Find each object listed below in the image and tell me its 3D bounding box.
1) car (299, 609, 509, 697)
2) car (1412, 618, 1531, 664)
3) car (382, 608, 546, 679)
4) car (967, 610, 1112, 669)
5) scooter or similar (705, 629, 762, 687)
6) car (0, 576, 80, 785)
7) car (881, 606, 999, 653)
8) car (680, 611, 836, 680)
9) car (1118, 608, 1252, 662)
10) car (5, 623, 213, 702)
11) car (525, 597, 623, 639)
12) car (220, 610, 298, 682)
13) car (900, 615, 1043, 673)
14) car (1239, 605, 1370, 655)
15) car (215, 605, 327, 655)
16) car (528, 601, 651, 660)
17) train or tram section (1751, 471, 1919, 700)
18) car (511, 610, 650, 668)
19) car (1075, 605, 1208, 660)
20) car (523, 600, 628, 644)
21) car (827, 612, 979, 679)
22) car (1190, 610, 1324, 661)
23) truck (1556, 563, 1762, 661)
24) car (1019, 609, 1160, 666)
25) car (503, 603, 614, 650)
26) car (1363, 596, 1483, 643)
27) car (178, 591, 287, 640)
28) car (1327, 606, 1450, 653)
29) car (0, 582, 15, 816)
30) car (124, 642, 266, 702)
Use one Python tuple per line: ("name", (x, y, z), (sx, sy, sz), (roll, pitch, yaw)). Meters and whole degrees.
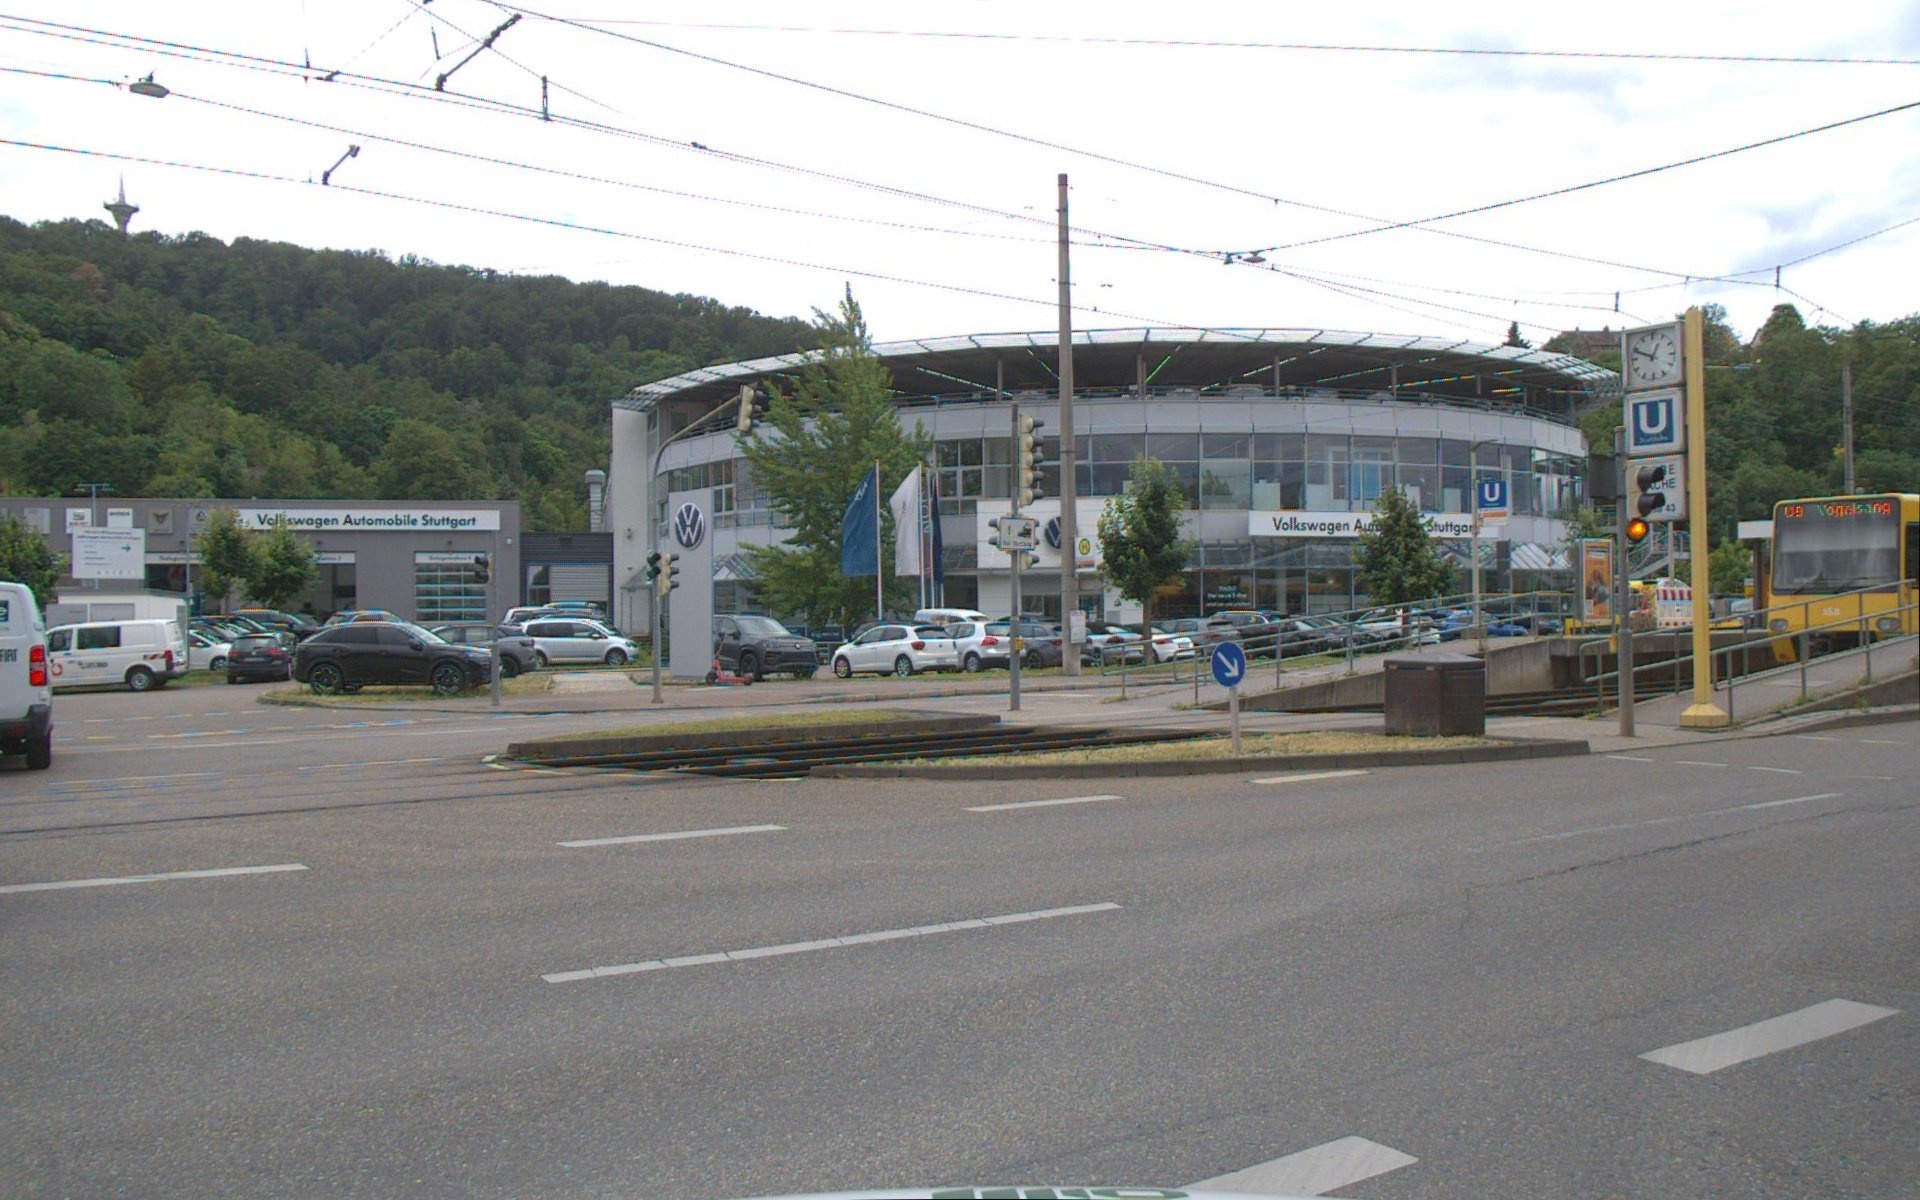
("car", (-12.083, 1.140, 36.171), (3.908, 1.668, 1.999), (2, 1, -4))
("car", (19.084, 1.550, 61.821), (1.906, 1.581, 3.949), (4, -4, -36))
("car", (-13.451, 1.209, 44.868), (3.939, 1.736, 1.982), (4, -4, -27))
("car", (2.284, 1.145, 47.995), (1.913, 1.581, 3.934), (5, -4, -44))
("scooter or similar", (-5.370, 1.381, 39.218), (1.184, 1.311, 0.571), (3, -4, -23))
("car", (-11.204, 0.754, 18.407), (1.981, 2.076, 4.775), (3, -1, -33))
("car", (-0.746, 1.078, 59.927), (3.921, 1.581, 1.919), (0, -4, 37))
("car", (-5.189, 1.157, 42.179), (1.985, 1.669, 3.934), (2, -2, -44))
("car", (7.202, 1.139, 53.194), (1.913, 1.581, 3.934), (5, -4, -44))
("car", (-24.269, 1.780, 47.344), (4.915, 2.049, 1.993), (-2, -2, -13))
("car", (-18.782, 0.898, 80.457), (4.427, 1.759, 1.989), (3, -3, -19))
("car", (-21.776, 1.479, 51.524), (1.965, 2.049, 4.986), (-1, -2, -21))
("car", (0.295, 1.252, 46.671), (1.801, 1.503, 3.934), (5, -4, -44))
("car", (11.560, 1.002, 55.607), (1.913, 1.581, 3.934), (-2, 0, -44))
("car", (-28.223, 1.268, 67.840), (3.921, 1.825, 1.846), (3, -3, -15))
("car", (-14.289, 1.217, 63.772), (4.426, 2.032, 1.989), (3, -3, -18))
("train or tram section", (20.312, -0.316, 34.115), (11.805, 4.036, 2.708), (-1, -1, -41))
("car", (-13.002, 1.367, 56.630), (4.427, 1.759, 1.989), (3, -3, -19))
("car", (5.644, 1.018, 51.716), (1.716, 1.581, 3.934), (5, -4, -44))
("car", (-17.538, 1.040, 75.440), (4.427, 1.759, 1.989), (3, -3, -19))
("car", (-1.586, 1.251, 45.226), (1.985, 1.669, 3.934), (5, -4, -44))
("car", (9.700, 1.157, 54.148), (1.913, 1.581, 3.934), (-1, 0, -44))
("truck", (24.185, 0.419, 56.970), (8.919, 3.132, 2.665), (0, -1, -39))
("car", (3.877, 1.129, 49.910), (1.913, 1.581, 3.934), (5, -4, -44))
("car", (-17.240, 1.179, 70.986), (4.427, 1.759, 1.989), (3, -3, -19))
("car", (17.091, 0.739, 61.186), (1.906, 1.581, 3.949), (4, -4, -36))
("car", (-31.055, 0.690, 70.676), (3.921, 1.825, 1.846), (3, -3, -15))
("car", (15.297, 1.055, 59.235), (1.906, 1.581, 3.949), (-1, -1, -36))
("car", (-5.940, 0.651, 8.170), (1.685, 1.552, 3.948), (4, -2, -37))
("car", (-25.520, 2.415, 55.309), (3.921, 1.825, 1.846), (3, -3, -15))
